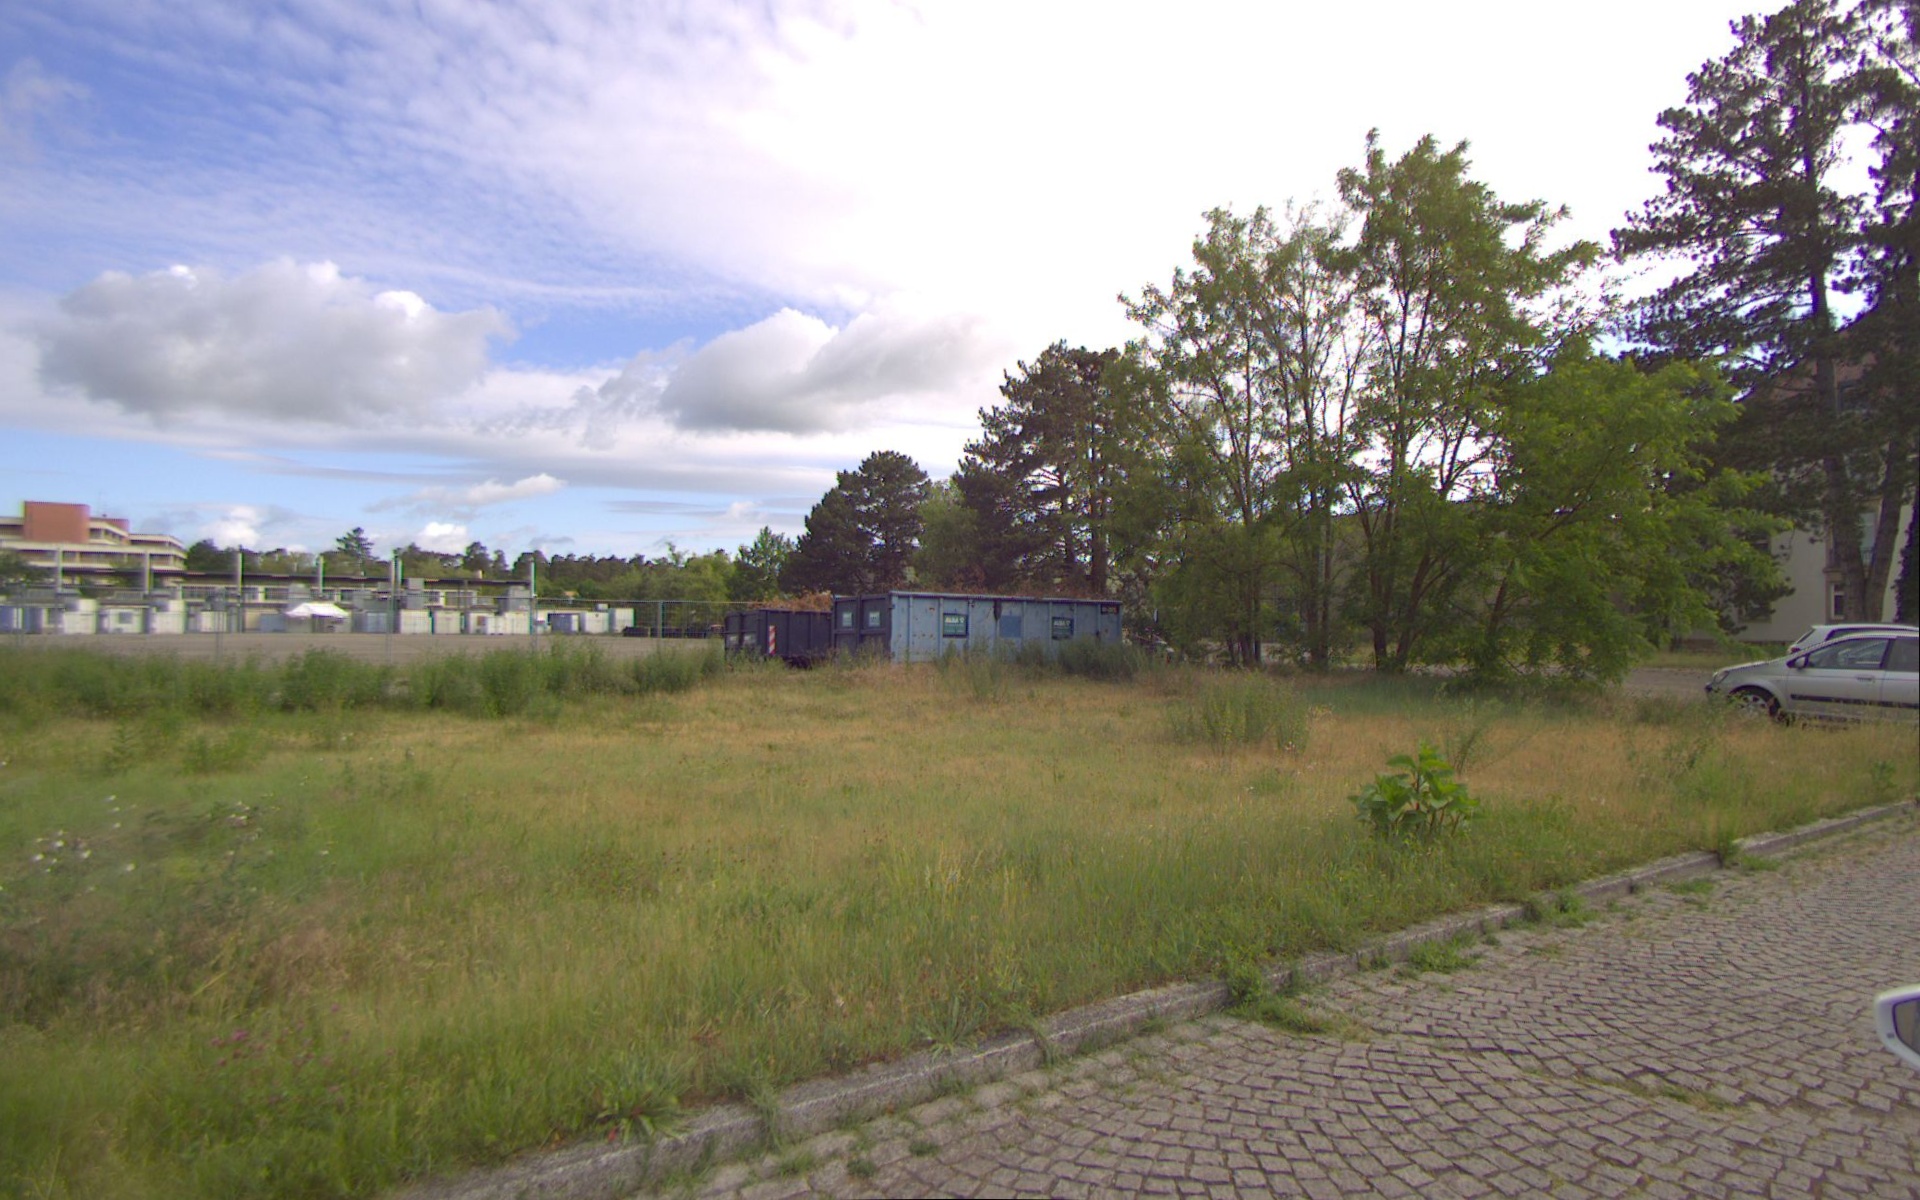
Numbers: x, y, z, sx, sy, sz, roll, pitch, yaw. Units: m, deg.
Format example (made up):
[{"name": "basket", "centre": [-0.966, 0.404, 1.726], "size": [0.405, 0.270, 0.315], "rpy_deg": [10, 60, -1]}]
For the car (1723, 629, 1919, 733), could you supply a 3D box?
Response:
[{"name": "car", "centre": [15.009, 1.250, 15.985], "size": [1.796, 1.574, 4.265], "rpy_deg": [1, -2, -38]}]

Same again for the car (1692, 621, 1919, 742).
[{"name": "car", "centre": [12.988, 1.125, 14.376], "size": [1.656, 1.500, 3.696], "rpy_deg": [1, 1, -35]}]

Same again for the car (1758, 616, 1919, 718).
[{"name": "car", "centre": [17.096, 1.172, 17.884], "size": [1.638, 1.755, 4.266], "rpy_deg": [1, -2, -37]}]

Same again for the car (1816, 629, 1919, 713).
[{"name": "car", "centre": [19.220, 1.340, 19.060], "size": [1.796, 1.574, 4.265], "rpy_deg": [1, -2, -38]}]
